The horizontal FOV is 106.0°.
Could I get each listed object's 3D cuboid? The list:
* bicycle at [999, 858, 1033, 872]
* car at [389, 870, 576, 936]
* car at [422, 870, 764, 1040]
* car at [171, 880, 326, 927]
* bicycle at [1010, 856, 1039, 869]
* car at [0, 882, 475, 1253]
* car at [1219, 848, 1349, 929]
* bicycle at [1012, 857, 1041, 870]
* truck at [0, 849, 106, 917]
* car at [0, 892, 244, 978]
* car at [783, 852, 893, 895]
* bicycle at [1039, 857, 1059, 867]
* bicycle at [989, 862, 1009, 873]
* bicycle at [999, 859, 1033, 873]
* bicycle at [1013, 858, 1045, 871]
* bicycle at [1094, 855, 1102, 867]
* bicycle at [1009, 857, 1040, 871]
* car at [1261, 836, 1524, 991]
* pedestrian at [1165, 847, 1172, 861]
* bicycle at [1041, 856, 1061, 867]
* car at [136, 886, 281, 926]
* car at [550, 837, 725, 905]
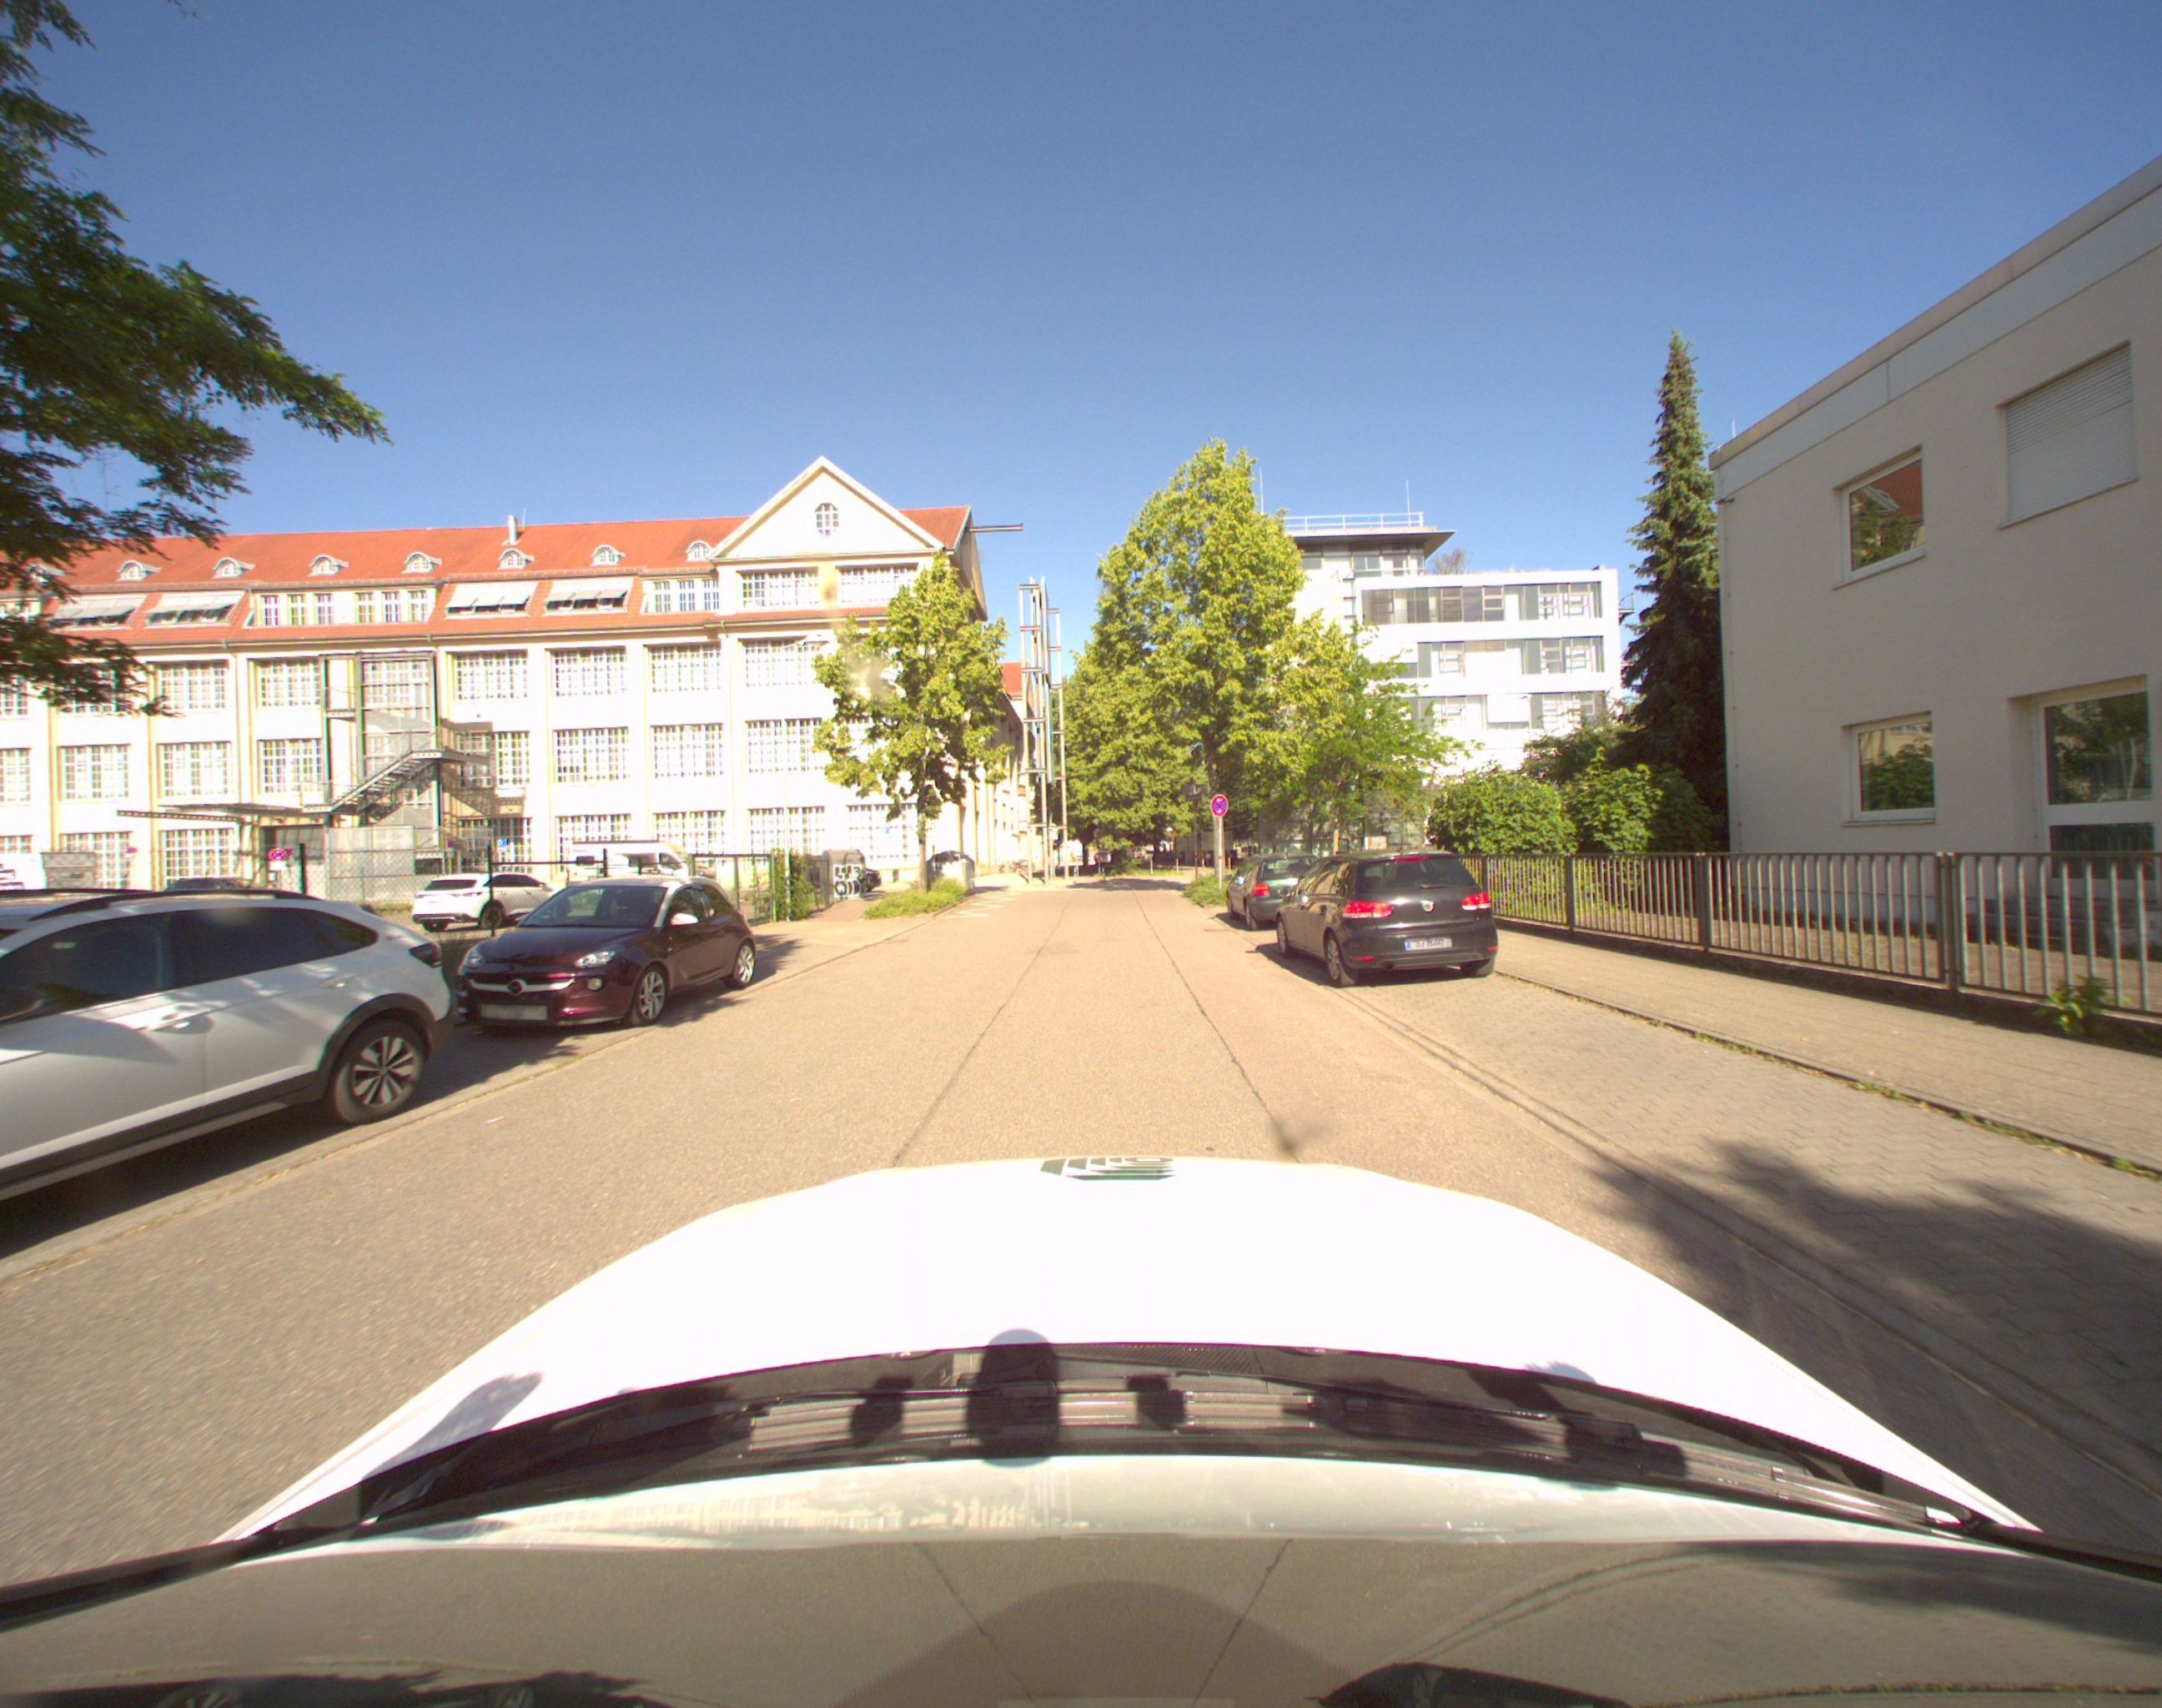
[{"bbox_3d":[-5.399,0.937,68.095,2.794,1.063,0.718,-2,0,-3],"label":"bicycle"},{"bbox_3d":[-17.502,1.355,24.159,1.984,1.609,4.432,-2,0,4],"label":"car"},{"bbox_3d":[-5.108,0.947,9.157,1.712,1.474,3.545,0,0,0],"label":"car"},{"bbox_3d":[-33.988,1.966,33.448,1.884,1.560,4.244,-2,0,1],"label":"car"},{"bbox_3d":[-5.296,0.825,76.391,2.725,1.150,0.718,-2,0,-3],"label":"bicycle"},{"bbox_3d":[-5.427,0.937,3.988,1.833,1.474,4.003,0,0,1],"label":"car"},{"bbox_3d":[4.048,0.645,16.957,1.739,1.422,4.426,-2,-1,2],"label":"car"},{"bbox_3d":[-5.183,0.899,77.179,2.725,1.150,0.718,-2,0,-3],"label":"bicycle"},{"bbox_3d":[-56.777,1.556,43.341,7.073,3.431,2.503,-2,-1,3],"label":"truck"},{"bbox_3d":[-22.566,1.769,18.696,1.957,1.495,4.380,-2,0,4],"label":"car"},{"bbox_3d":[-10.522,0.846,35.473,4.073,1.695,2.002,-2,-1,3],"label":"car"},{"bbox_3d":[-3.460,0.856,87.652,2.049,1.066,0.507,-2,0,3],"label":"bicycle"},{"bbox_3d":[-6.554,1.077,65.315,0.773,0.792,2.892,-2,0,9],"label":"bicycle"},{"bbox_3d":[-5.523,0.999,69.693,2.790,1.063,0.719,-2,0,1],"label":"bicycle"},{"bbox_3d":[-4.605,0.969,72.611,2.794,1.063,0.718,-2,0,-3],"label":"bicycle"},{"bbox_3d":[1.684,0.676,81.755,0.618,1.197,2.129,-2,0,-3],"label":"bicycle"},{"bbox_3d":[-5.212,0.909,75.153,2.794,1.150,0.718,-2,0,-3],"label":"bicycle"},{"bbox_3d":[3.647,0.603,10.371,1.778,1.516,4.000,-3,0,0],"label":"car"},{"bbox_3d":[9.705,-0.034,90.703,0.713,1.550,0.692,-2,0,8],"label":"pedestrian"},{"bbox_3d":[-3.263,0.821,88.412,2.049,1.066,0.507,-2,0,3],"label":"bicycle"},{"bbox_3d":[-37.303,2.208,34.888,4.195,1.425,1.852,-2,0,2],"label":"car"},{"bbox_3d":[-19.129,0.715,35.330,6.242,2.597,2.165,-2,0,0],"label":"car"}]
